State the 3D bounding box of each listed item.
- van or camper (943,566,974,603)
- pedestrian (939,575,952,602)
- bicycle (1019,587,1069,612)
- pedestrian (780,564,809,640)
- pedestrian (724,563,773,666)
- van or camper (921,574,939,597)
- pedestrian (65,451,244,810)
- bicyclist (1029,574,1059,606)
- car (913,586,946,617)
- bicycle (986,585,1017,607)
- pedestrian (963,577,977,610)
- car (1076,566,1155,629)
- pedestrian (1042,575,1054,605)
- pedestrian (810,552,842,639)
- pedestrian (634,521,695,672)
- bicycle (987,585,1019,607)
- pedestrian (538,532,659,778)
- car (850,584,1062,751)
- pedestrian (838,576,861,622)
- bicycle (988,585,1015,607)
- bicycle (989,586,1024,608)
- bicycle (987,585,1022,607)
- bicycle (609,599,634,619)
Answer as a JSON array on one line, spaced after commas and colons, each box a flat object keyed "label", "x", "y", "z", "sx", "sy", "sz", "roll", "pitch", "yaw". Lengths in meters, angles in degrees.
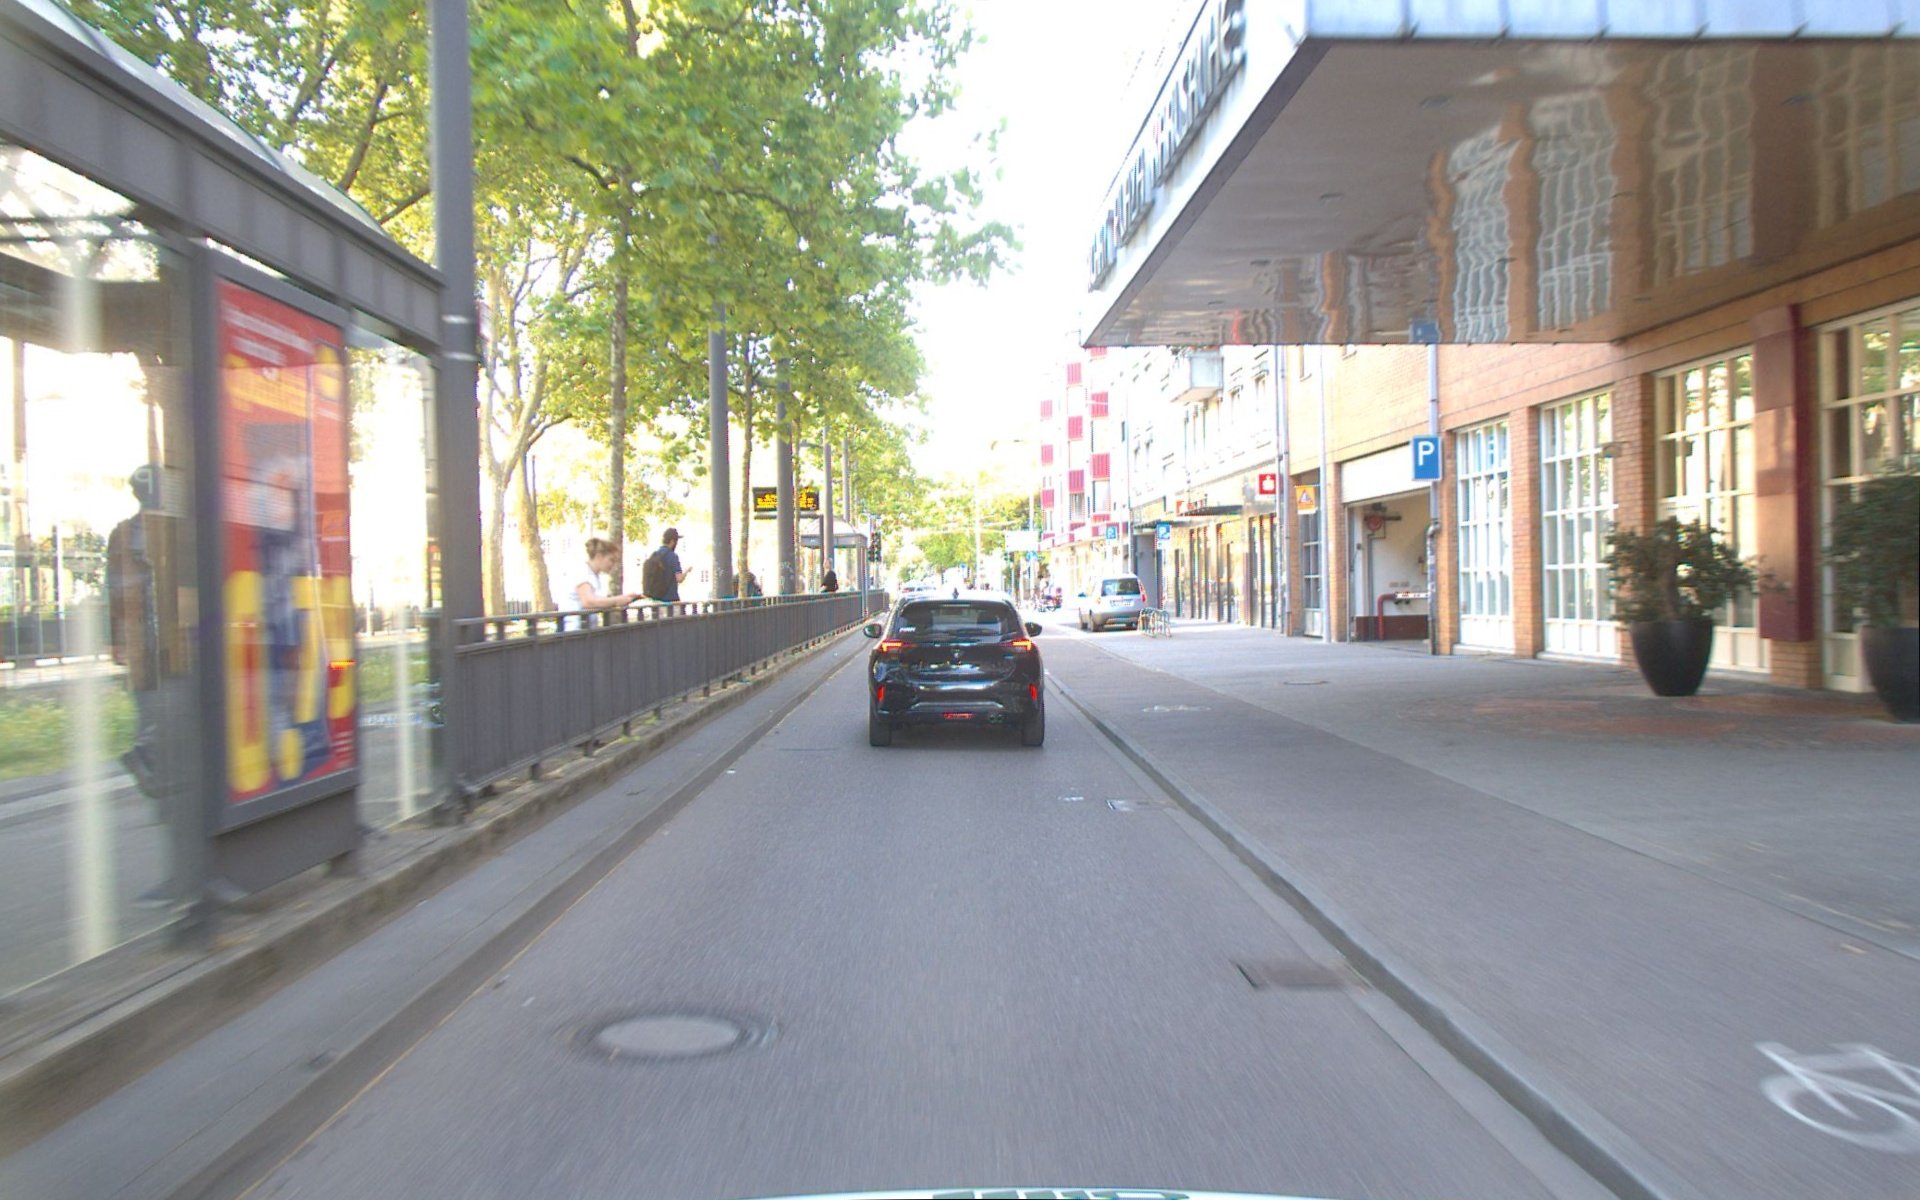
[{"label": "van or camper", "x": -0.182, "y": -1.419, "z": 151.359, "sx": 2.329, "sy": 3.179, "sz": 7.546, "roll": -4, "pitch": 0, "yaw": -3}, {"label": "pedestrian", "x": -1.151, "y": -0.911, "z": 130.628, "sx": 1.015, "sy": 2.059, "sz": 1.212, "roll": -1, "pitch": 0, "yaw": -3}, {"label": "bicycle", "x": 4.201, "y": -0.027, "z": 82.591, "sx": 0.956, "sy": 1.204, "sz": 2.557, "roll": -2, "pitch": 0, "yaw": -43}, {"label": "pedestrian", "x": -4.197, "y": 0.048, "z": 41.965, "sx": 0.632, "sy": 1.904, "sz": 0.753, "roll": -1, "pitch": 0, "yaw": -1}, {"label": "pedestrian", "x": -3.615, "y": 0.240, "z": 28.341, "sx": 0.714, "sy": 1.732, "sz": 0.863, "roll": 0, "pitch": 0, "yaw": 0}, {"label": "van or camper", "x": -4.053, "y": -1.954, "z": 224.955, "sx": 2.436, "sy": 3.046, "sz": 5.433, "roll": 1, "pitch": 0, "yaw": -1}, {"label": "pedestrian", "x": -4.372, "y": 0.156, "z": 9.012, "sx": 0.634, "sy": 1.871, "sz": 0.638, "roll": -1, "pitch": 0, "yaw": -2}, {"label": "bicyclist", "x": 4.179, "y": -0.508, "z": 82.588, "sx": 1.052, "sy": 1.567, "sz": 1.061, "roll": -1, "pitch": 0, "yaw": -44}, {"label": "car", "x": -1.702, "y": 0.079, "z": 93.190, "sx": 1.795, "sy": 1.651, "sz": 4.284, "roll": -1, "pitch": 0, "yaw": -1}, {"label": "bicycle", "x": 2.429, "y": -0.218, "z": 97.075, "sx": 1.764, "sy": 1.220, "sz": 0.546, "roll": -1, "pitch": -1, "yaw": 3}, {"label": "pedestrian", "x": 0.570, "y": -0.364, "z": 91.007, "sx": 0.719, "sy": 1.777, "sz": 0.712, "roll": -1, "pitch": 0, "yaw": 3}, {"label": "car", "x": 4.573, "y": -0.089, "z": 49.186, "sx": 1.796, "sy": 1.651, "sz": 4.284, "roll": -4, "pitch": 0, "yaw": -1}, {"label": "pedestrian", "x": 5.713, "y": -0.649, "z": 107.467, "sx": 0.708, "sy": 1.890, "sz": 0.800, "roll": -1, "pitch": 0, "yaw": -2}, {"label": "pedestrian", "x": -3.007, "y": -0.101, "z": 37.101, "sx": 0.633, "sy": 1.919, "sz": 0.661, "roll": -1, "pitch": 0, "yaw": -1}, {"label": "pedestrian", "x": -3.677, "y": -0.043, "z": 20.624, "sx": 0.693, "sy": 1.833, "sz": 0.825, "roll": -1, "pitch": 0, "yaw": -8}, {"label": "bicycle", "x": 2.481, "y": -0.214, "z": 95.758, "sx": 1.793, "sy": 1.242, "sz": 0.496, "roll": -1, "pitch": 0, "yaw": 2}, {"label": "pedestrian", "x": -2.596, "y": 0.384, "z": 11.942, "sx": 0.725, "sy": 1.719, "sz": 0.645, "roll": 1, "pitch": 0, "yaw": -3}, {"label": "car", "x": -0.066, "y": 0.581, "z": 16.857, "sx": 1.866, "sy": 1.450, "sz": 4.215, "roll": -1, "pitch": 1, "yaw": -1}, {"label": "pedestrian", "x": -3.301, "y": -0.030, "z": 49.607, "sx": 0.613, "sy": 1.342, "sz": 0.801, "roll": -1, "pitch": 0, "yaw": -1}, {"label": "bicycle", "x": 2.419, "y": -0.222, "z": 96.327, "sx": 1.589, "sy": 1.220, "sz": 0.496, "roll": -1, "pitch": 0, "yaw": 3}, {"label": "bicycle", "x": 2.640, "y": -0.151, "z": 94.199, "sx": 1.902, "sy": 1.190, "sz": 0.572, "roll": -1, "pitch": 0, "yaw": -5}, {"label": "bicycle", "x": 2.558, "y": -0.219, "z": 94.855, "sx": 1.939, "sy": 1.220, "sz": 0.590, "roll": -1, "pitch": 0, "yaw": -6}, {"label": "bicycle", "x": -17.489, "y": 0.463, "z": 85.524, "sx": 0.796, "sy": 0.962, "sz": 1.727, "roll": -1, "pitch": 1, "yaw": 4}]
